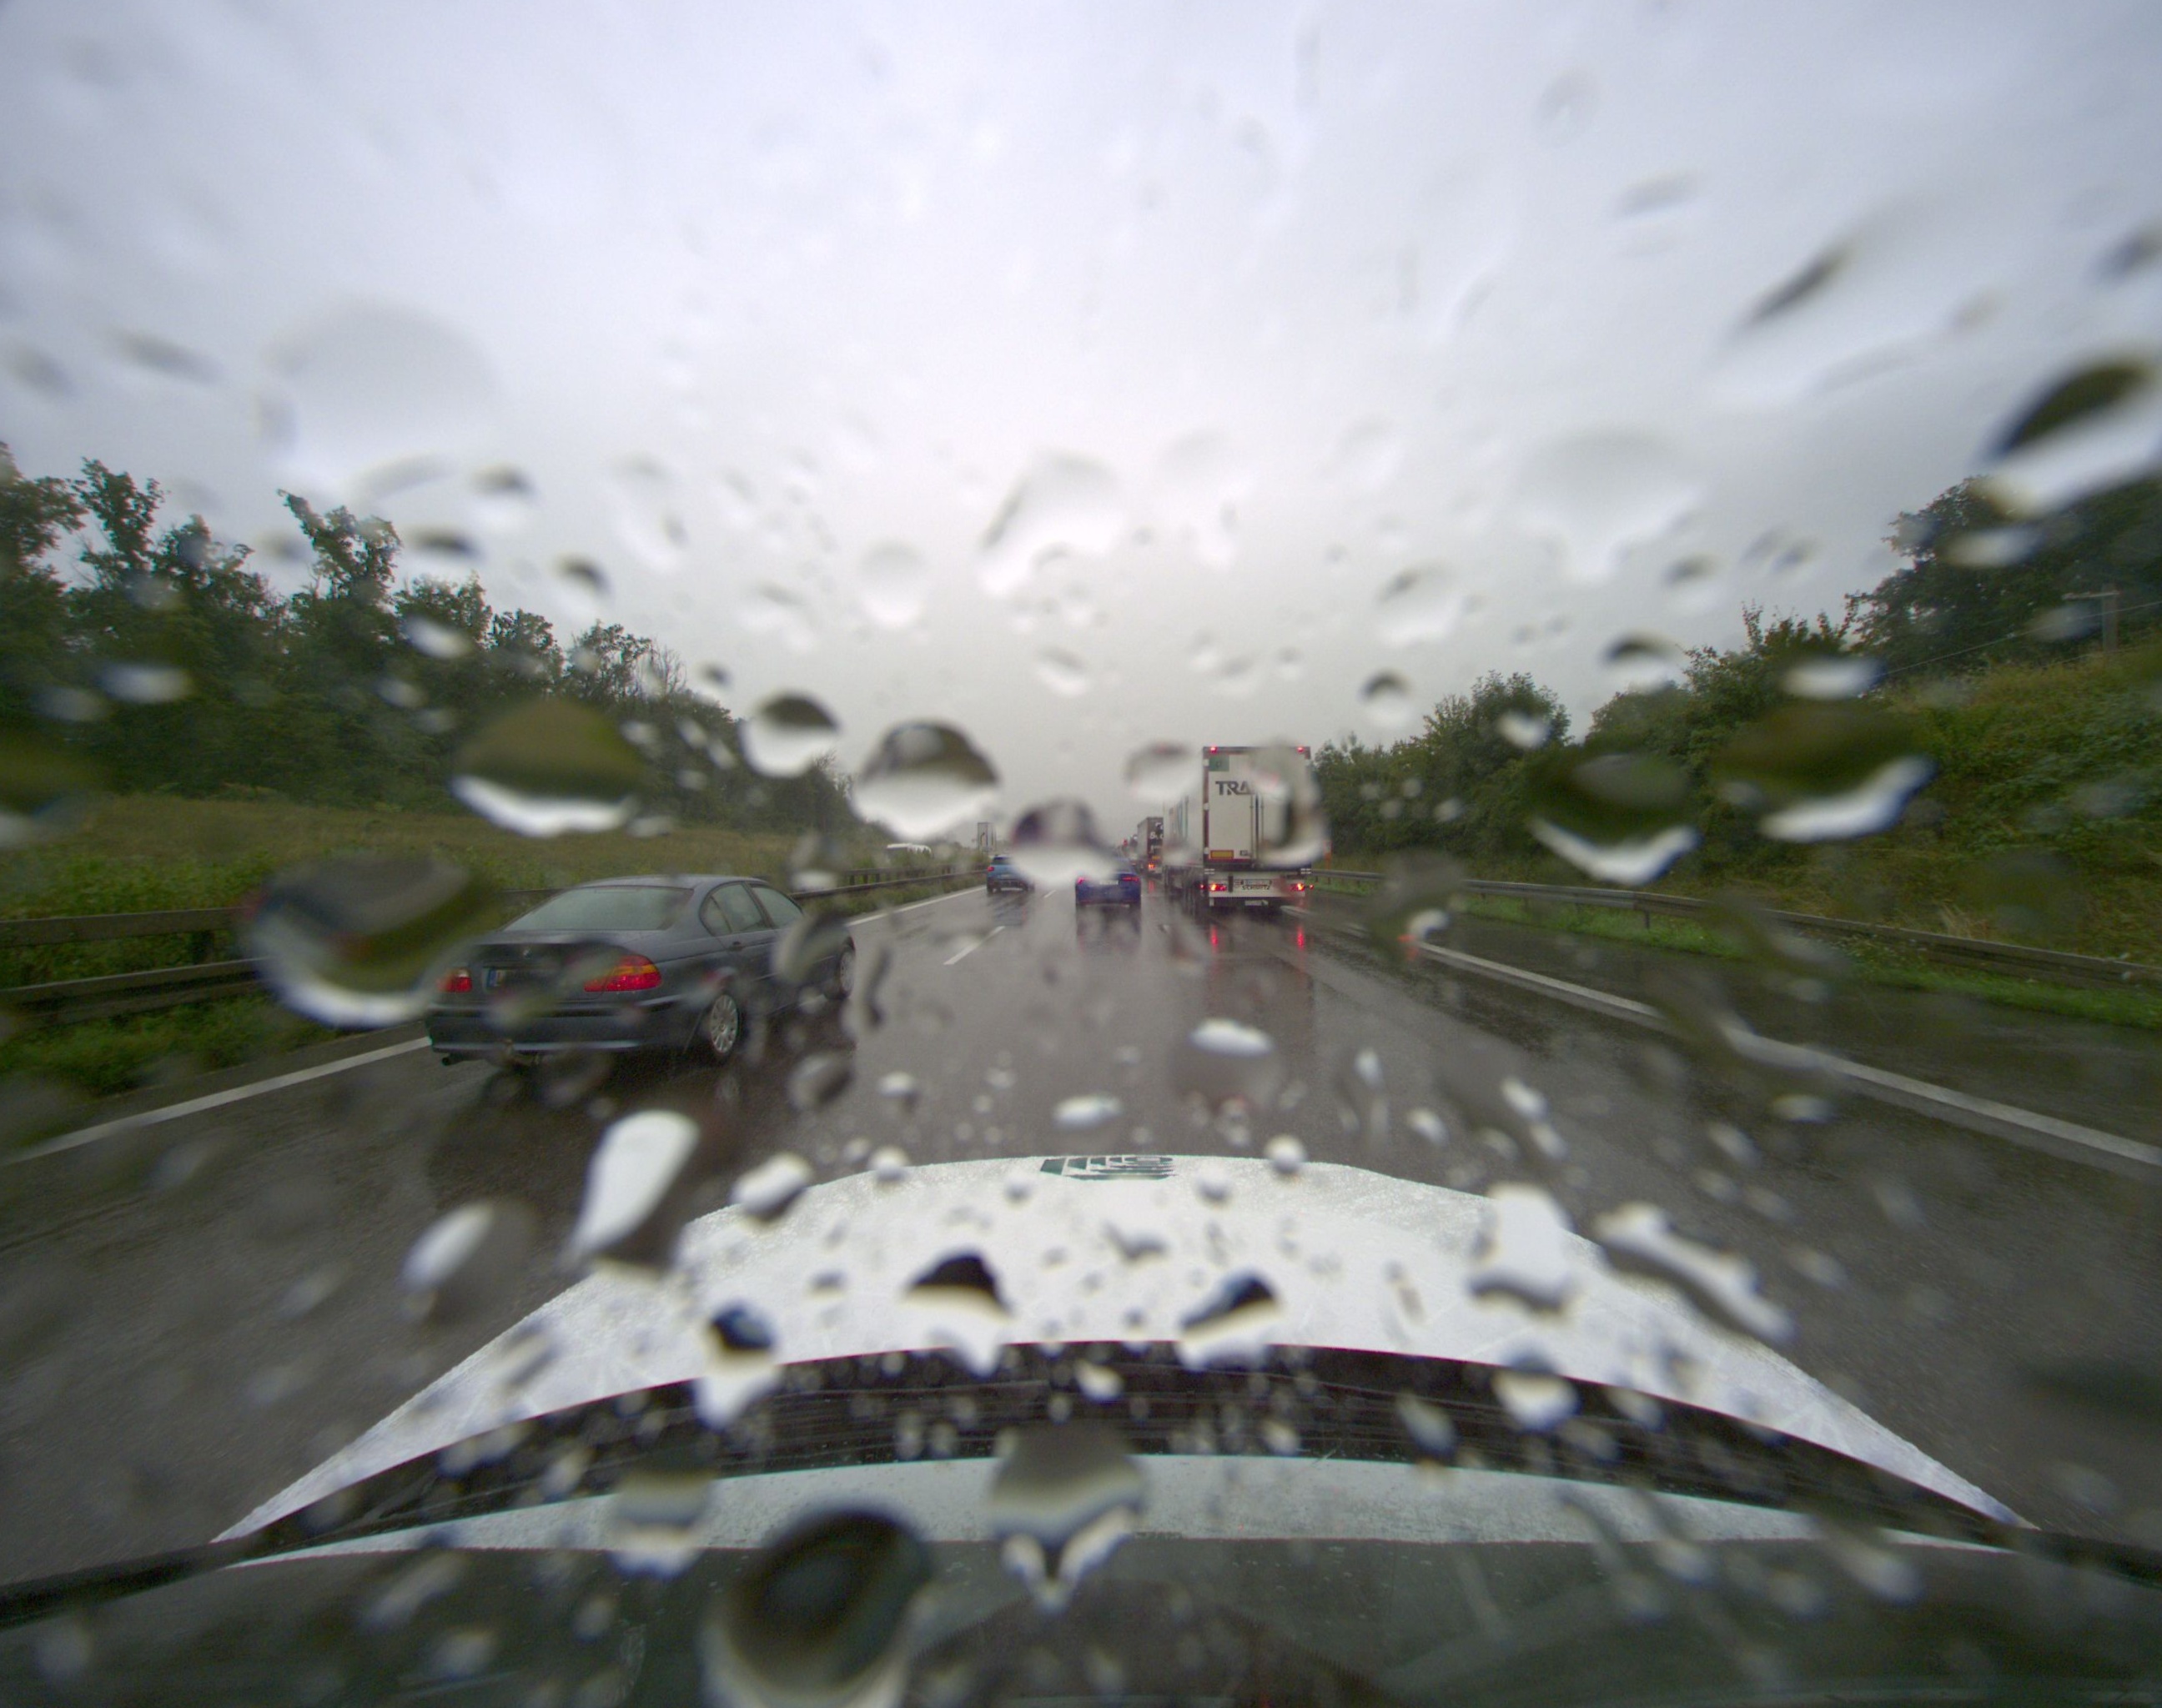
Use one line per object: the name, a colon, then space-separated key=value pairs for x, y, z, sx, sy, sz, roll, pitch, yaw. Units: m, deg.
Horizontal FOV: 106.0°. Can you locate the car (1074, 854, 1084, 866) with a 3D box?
car: x=-0.292 y=0.964 z=122.916 sx=1.443 sy=1.784 sz=3.410 roll=0 pitch=0 yaw=2

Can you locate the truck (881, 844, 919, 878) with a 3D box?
truck: x=-18.536 y=0.714 z=83.854 sx=2.532 sy=3.280 sz=5.199 roll=-3 pitch=-1 yaw=1

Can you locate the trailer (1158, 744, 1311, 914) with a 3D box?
trailer: x=4.355 y=-0.623 z=26.752 sx=2.620 sy=4.013 sz=14.635 roll=-1 pitch=0 yaw=2

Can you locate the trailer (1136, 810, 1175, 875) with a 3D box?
trailer: x=5.154 y=-0.746 z=58.148 sx=2.039 sy=4.176 sz=11.452 roll=-1 pitch=0 yaw=2

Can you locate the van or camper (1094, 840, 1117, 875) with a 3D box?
van or camper: x=2.015 y=0.265 z=67.568 sx=1.791 sy=2.806 sz=4.769 roll=-1 pitch=0 yaw=2

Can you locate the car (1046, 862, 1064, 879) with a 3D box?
car: x=-2.384 y=1.519 z=74.442 sx=1.434 sy=1.420 sz=3.323 roll=-1 pitch=0 yaw=2

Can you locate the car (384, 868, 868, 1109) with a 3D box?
car: x=-3.366 y=0.866 z=7.135 sx=1.711 sy=1.400 sz=4.232 roll=-1 pitch=0 yaw=2

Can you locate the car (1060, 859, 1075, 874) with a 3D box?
car: x=-1.442 y=1.352 z=89.369 sx=1.434 sy=1.533 sz=3.323 roll=-1 pitch=0 yaw=2

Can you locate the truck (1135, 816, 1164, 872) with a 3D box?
truck: x=5.316 y=-0.768 z=63.624 sx=2.039 sy=4.193 sz=4.002 roll=-1 pitch=0 yaw=2

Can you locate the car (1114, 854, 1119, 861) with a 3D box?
car: x=10.184 y=0.976 z=232.043 sx=1.443 sy=1.784 sz=3.410 roll=0 pitch=0 yaw=2

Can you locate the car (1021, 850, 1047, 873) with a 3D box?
car: x=-3.036 y=0.498 z=53.207 sx=1.354 sy=1.431 sz=3.365 roll=-1 pitch=0 yaw=2

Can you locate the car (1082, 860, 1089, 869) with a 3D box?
car: x=0.934 y=2.089 z=162.795 sx=1.443 sy=1.784 sz=3.410 roll=0 pitch=0 yaw=2

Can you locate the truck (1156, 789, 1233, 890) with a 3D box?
truck: x=4.566 y=-0.562 z=33.571 sx=2.621 sy=3.827 sz=4.793 roll=-1 pitch=0 yaw=2

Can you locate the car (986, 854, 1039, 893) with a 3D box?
car: x=-2.881 y=0.791 z=34.890 sx=1.715 sy=1.523 sz=4.003 roll=-1 pitch=0 yaw=3

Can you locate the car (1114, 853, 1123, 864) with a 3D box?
car: x=6.646 y=0.807 z=143.655 sx=1.443 sy=1.784 sz=3.410 roll=0 pitch=0 yaw=2

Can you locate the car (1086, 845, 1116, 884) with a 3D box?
car: x=0.966 y=0.496 z=39.132 sx=1.332 sy=1.780 sz=3.323 roll=-1 pitch=0 yaw=2

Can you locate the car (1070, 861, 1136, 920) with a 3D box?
car: x=0.639 y=0.944 z=22.547 sx=1.629 sy=1.445 sz=4.002 roll=-1 pitch=0 yaw=2

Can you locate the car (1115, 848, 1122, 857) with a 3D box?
car: x=8.164 y=-0.299 z=177.945 sx=1.331 sy=1.890 sz=3.041 roll=-2 pitch=0 yaw=1

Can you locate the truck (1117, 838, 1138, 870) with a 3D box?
truck: x=5.291 y=-0.026 z=94.043 sx=1.987 sy=3.421 sz=8.032 roll=-1 pitch=0 yaw=1

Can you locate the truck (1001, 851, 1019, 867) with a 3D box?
truck: x=-12.699 y=0.931 z=145.734 sx=2.471 sy=2.719 sz=4.530 roll=-3 pitch=-2 yaw=2
